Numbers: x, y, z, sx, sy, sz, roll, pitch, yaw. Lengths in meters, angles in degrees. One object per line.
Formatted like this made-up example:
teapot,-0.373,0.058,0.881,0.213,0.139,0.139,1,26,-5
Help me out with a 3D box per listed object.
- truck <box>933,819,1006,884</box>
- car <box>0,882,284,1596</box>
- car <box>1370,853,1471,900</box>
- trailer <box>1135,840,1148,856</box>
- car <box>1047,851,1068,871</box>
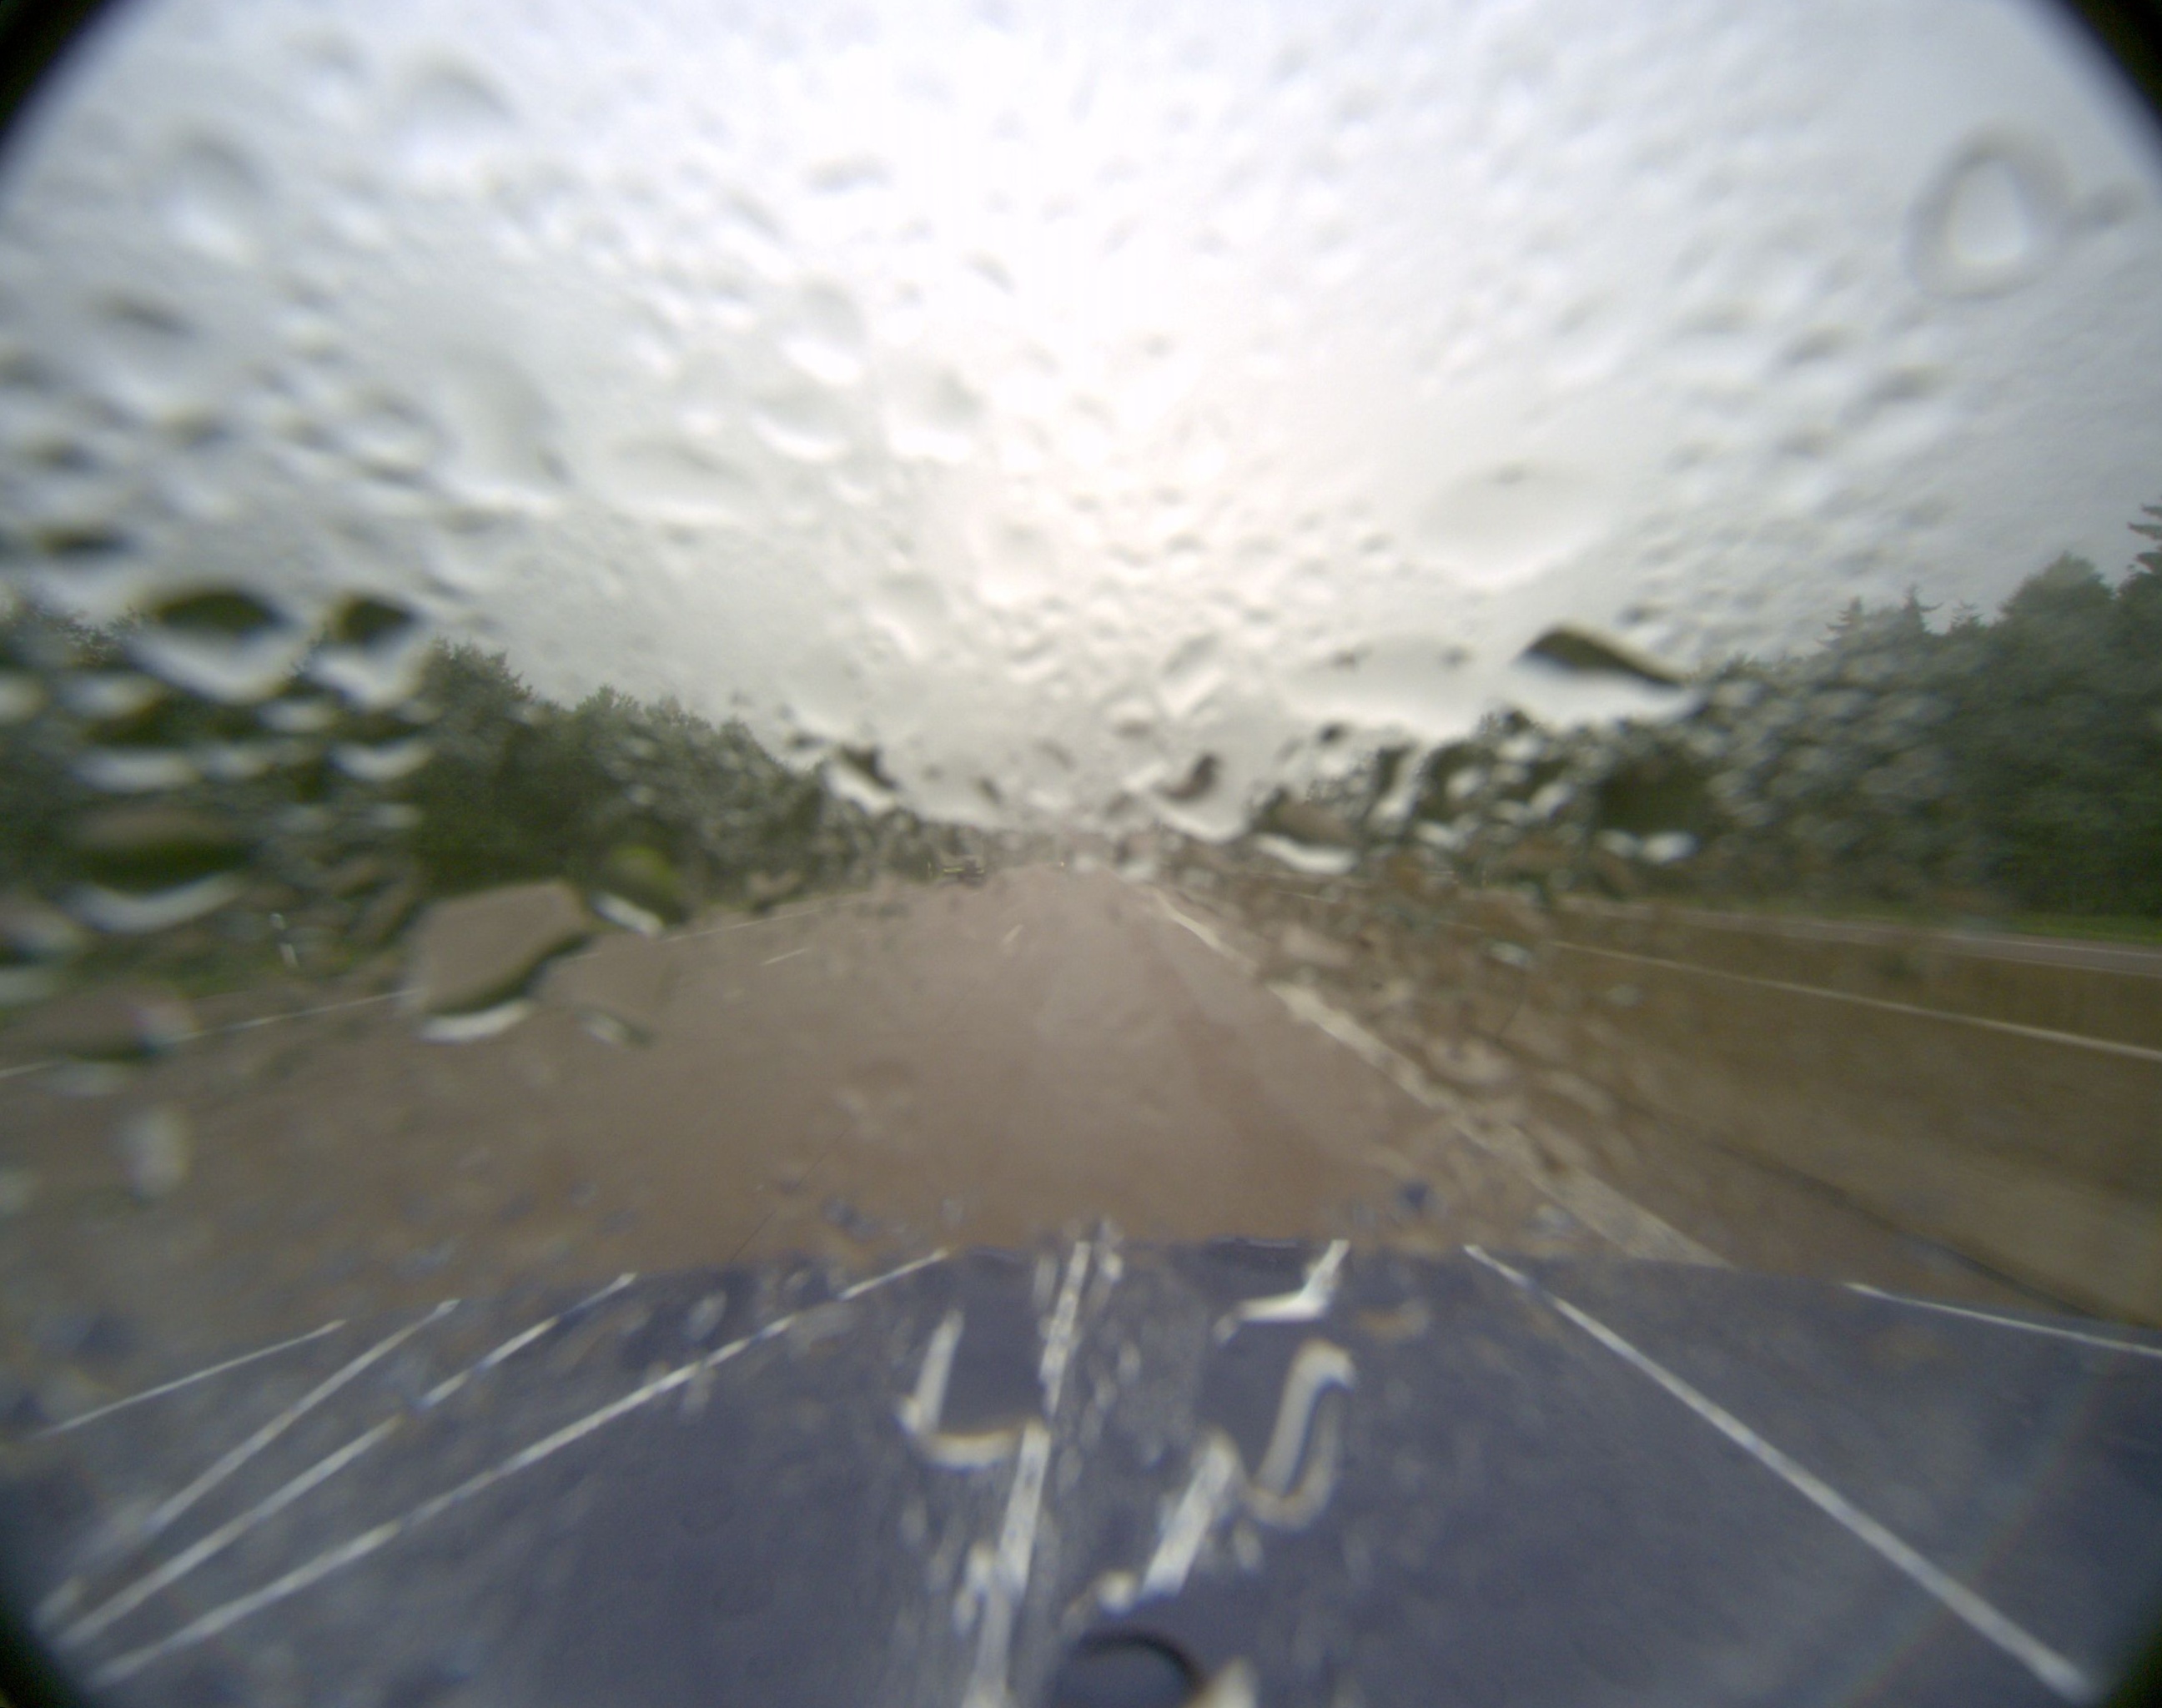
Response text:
truck,-6.886,-0.168,48.368,3.242,3.708,7.954,-2,0,1
car,-3.563,0.999,0.124,1.813,1.718,4.743,-2,0,-1
car,12.772,0.772,28.915,1.813,1.622,4.505,1,0,1
trailer,20.648,-2.074,260.561,3.762,4.924,13.687,-2,0,7
car,-2.426,0.717,79.787,1.999,2.002,4.276,-2,0,0
